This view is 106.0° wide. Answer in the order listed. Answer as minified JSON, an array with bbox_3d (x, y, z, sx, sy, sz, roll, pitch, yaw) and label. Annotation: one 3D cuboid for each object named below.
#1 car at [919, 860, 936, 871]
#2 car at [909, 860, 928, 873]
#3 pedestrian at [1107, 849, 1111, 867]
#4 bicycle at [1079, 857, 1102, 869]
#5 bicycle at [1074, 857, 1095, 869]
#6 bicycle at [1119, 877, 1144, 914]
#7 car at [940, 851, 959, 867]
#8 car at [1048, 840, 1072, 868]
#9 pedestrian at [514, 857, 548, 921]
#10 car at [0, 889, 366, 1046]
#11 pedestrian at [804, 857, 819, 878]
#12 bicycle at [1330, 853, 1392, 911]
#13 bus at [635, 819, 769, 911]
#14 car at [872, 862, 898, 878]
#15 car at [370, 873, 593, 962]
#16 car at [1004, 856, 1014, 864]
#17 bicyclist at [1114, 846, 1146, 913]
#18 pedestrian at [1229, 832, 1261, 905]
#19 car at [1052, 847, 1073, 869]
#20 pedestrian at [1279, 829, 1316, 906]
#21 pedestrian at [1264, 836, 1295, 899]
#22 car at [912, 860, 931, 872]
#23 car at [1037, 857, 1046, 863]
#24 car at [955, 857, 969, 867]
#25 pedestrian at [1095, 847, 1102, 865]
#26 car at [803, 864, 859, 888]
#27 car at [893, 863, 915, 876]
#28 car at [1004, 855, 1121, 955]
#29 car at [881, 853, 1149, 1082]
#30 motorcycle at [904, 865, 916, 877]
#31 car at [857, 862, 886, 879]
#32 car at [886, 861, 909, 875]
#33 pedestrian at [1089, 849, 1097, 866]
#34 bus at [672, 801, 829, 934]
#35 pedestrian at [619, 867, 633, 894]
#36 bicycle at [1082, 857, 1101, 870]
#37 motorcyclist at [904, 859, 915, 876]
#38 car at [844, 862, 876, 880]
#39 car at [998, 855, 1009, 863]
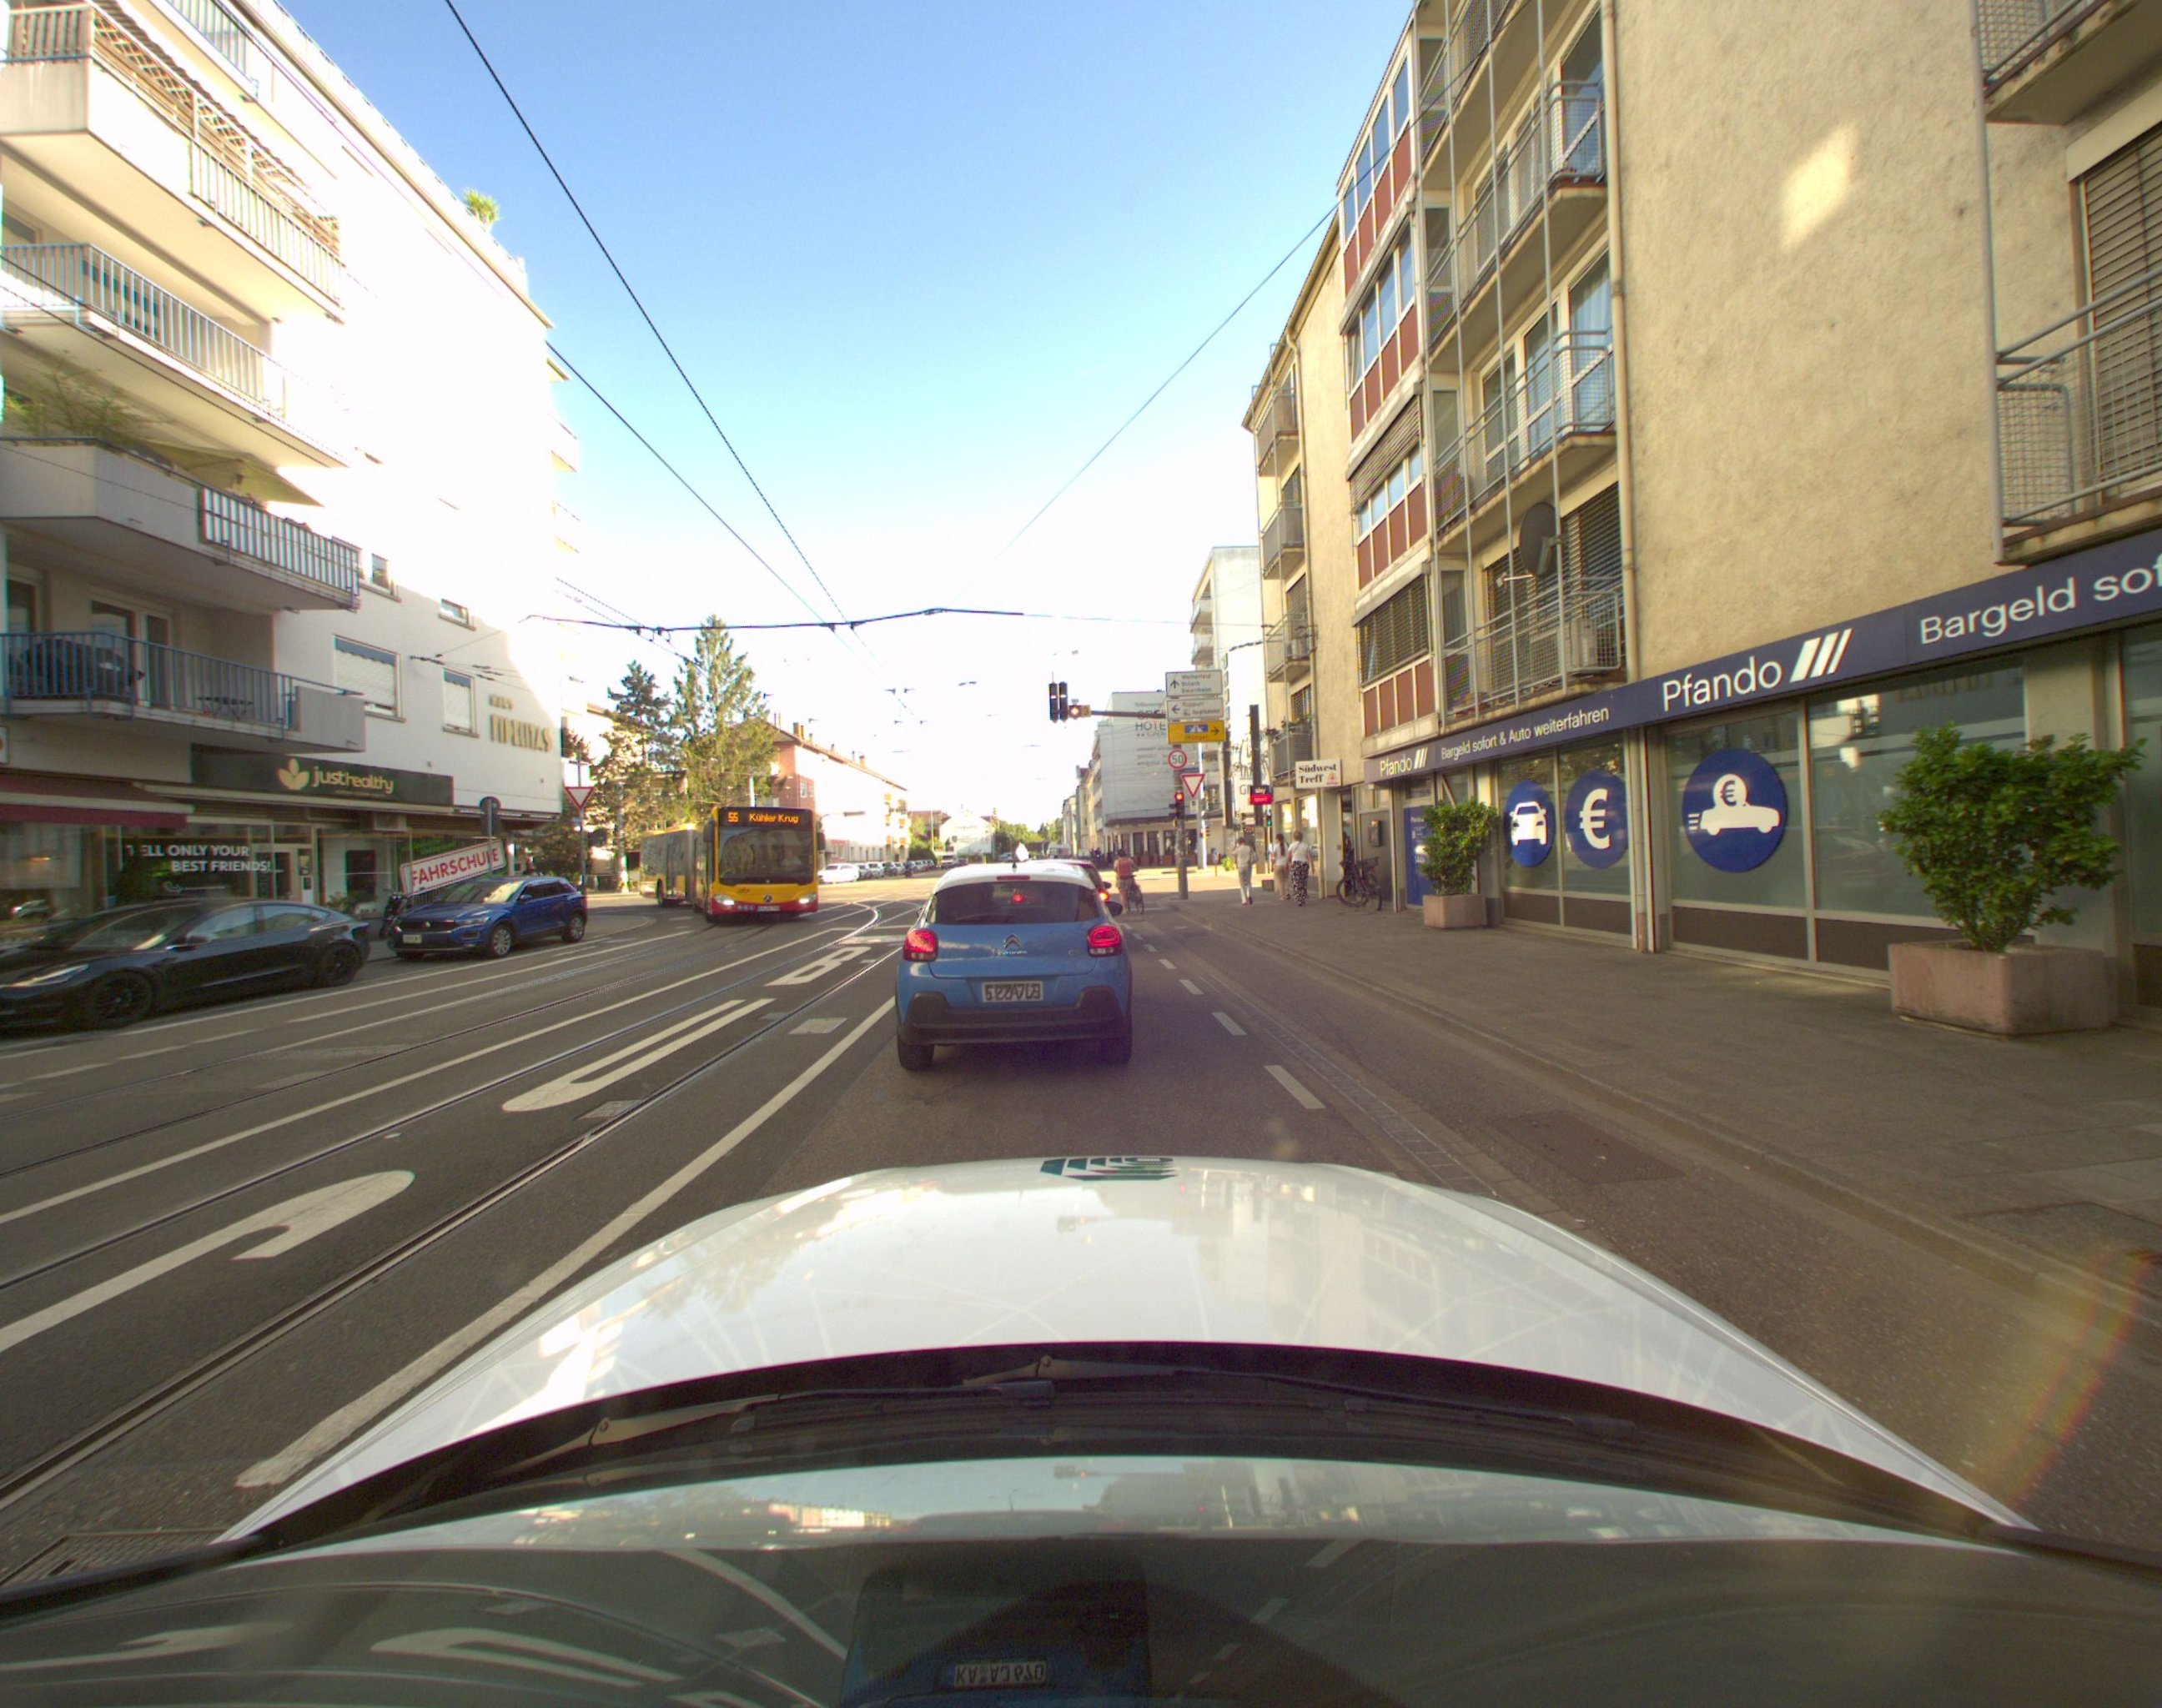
[{"bbox_3d":[-22.049,1.636,117.166,1.865,1.574,3.997,-2,0,-2],"label":"car"},{"bbox_3d":[-21.341,1.632,107.063,1.907,1.497,3.996,-3,0,-3],"label":"car"},{"bbox_3d":[2.424,0.336,70.839,0.284,1.556,0.304,-2,0,-8],"label":"pedestrian"},{"bbox_3d":[0.780,0.758,67.778,1.866,0.957,0.702,-3,0,2],"label":"bicycle"},{"bbox_3d":[0.285,0.778,69.143,1.713,0.957,0.702,-3,0,2],"label":"bicycle"},{"bbox_3d":[1.309,1.060,21.350,0.497,0.864,1.748,-2,0,-1],"label":"bicycle"},{"bbox_3d":[-19.385,0.698,120.265,2.202,2.251,4.672,-3,0,-3],"label":"car"},{"bbox_3d":[-1.897,0.008,73.204,1.988,2.325,3.997,-1,0,-2],"label":"car"},{"bbox_3d":[-17.576,1.109,26.027,0.685,2.013,0.485,-2,0,-5],"label":"pedestrian"},{"bbox_3d":[-12.117,1.298,10.699,1.695,1.509,4.309,-1,-1,-2],"label":"car"},{"bbox_3d":[-21.928,1.104,66.276,0.840,1.690,0.738,-2,0,3],"label":"pedestrian"},{"bbox_3d":[5.597,0.526,16.375,0.529,1.072,1.809,-2,0,-2],"label":"bicycle"},{"bbox_3d":[-14.906,0.433,31.705,2.761,3.161,7.488,-3,0,-40],"label":"bus"},{"bbox_3d":[-20.877,1.707,86.938,1.907,1.497,3.996,-3,0,-3],"label":"car"},{"bbox_3d":[-12.062,1.196,16.760,1.740,1.509,3.996,-1,-1,-2],"label":"car"},{"bbox_3d":[-16.518,1.376,187.783,2.017,1.525,3.996,-3,0,-3],"label":"car"},{"bbox_3d":[1.249,0.646,20.995,0.723,1.646,0.790,-2,0,1],"label":"bicyclist"},{"bbox_3d":[3.888,0.327,19.336,0.539,1.672,0.624,-4,2,-1],"label":"pedestrian"},{"bbox_3d":[-1.556,0.327,68.282,1.728,1.750,3.211,-1,0,-2],"label":"car"},{"bbox_3d":[4.890,0.302,18.395,0.539,1.672,0.650,-4,0,-1],"label":"pedestrian"},{"bbox_3d":[4.954,0.331,20.344,0.539,1.507,0.611,-4,2,-1],"label":"pedestrian"},{"bbox_3d":[-21.904,1.666,112.070,1.907,1.497,3.996,-3,0,-3],"label":"car"},{"bbox_3d":[-8.322,1.194,170.454,1.753,1.259,3.824,-2,0,-6],"label":"car"},{"bbox_3d":[-21.199,1.420,145.430,2.016,1.525,3.996,-2,0,-3],"label":"car"},{"bbox_3d":[1.540,0.140,70.632,0.490,1.556,0.383,-2,0,-2],"label":"pedestrian"},{"bbox_3d":[-18.376,1.603,60.130,1.836,1.574,4.419,-2,0,15],"label":"car"},{"bbox_3d":[-21.425,1.858,98.657,1.907,1.497,3.996,-3,0,-3],"label":"car"},{"bbox_3d":[-0.243,0.779,14.346,1.732,1.420,4.001,-2,0,1],"label":"car"},{"bbox_3d":[-0.587,0.738,7.374,1.741,1.462,3.993,-1,0,-5],"label":"car"},{"bbox_3d":[-14.321,1.416,68.177,0.613,0.864,1.671,-2,0,1],"label":"motorcycle"},{"bbox_3d":[-20.570,1.615,80.150,1.907,1.497,3.996,-3,0,-3],"label":"car"},{"bbox_3d":[-20.952,1.560,93.079,1.907,1.497,3.996,-3,0,-3],"label":"car"},{"bbox_3d":[1.154,0.313,76.053,0.487,1.556,0.651,-3,0,19],"label":"pedestrian"},{"bbox_3d":[-10.223,0.371,24.359,2.740,3.158,10.094,-2,0,-31],"label":"bus"},{"bbox_3d":[-31.640,1.868,56.684,0.507,1.833,0.673,-2,0,1],"label":"pedestrian"},{"bbox_3d":[0.849,0.753,66.717,1.498,0.957,0.702,-3,0,2],"label":"bicycle"},{"bbox_3d":[-14.325,1.129,68.023,0.716,1.378,0.912,-2,0,1],"label":"motorcyclist"},{"bbox_3d":[-20.450,1.571,75.524,1.907,1.497,3.996,-3,0,-3],"label":"car"},{"bbox_3d":[-16.146,0.972,170.359,2.016,1.525,3.996,-2,0,-3],"label":"car"}]
